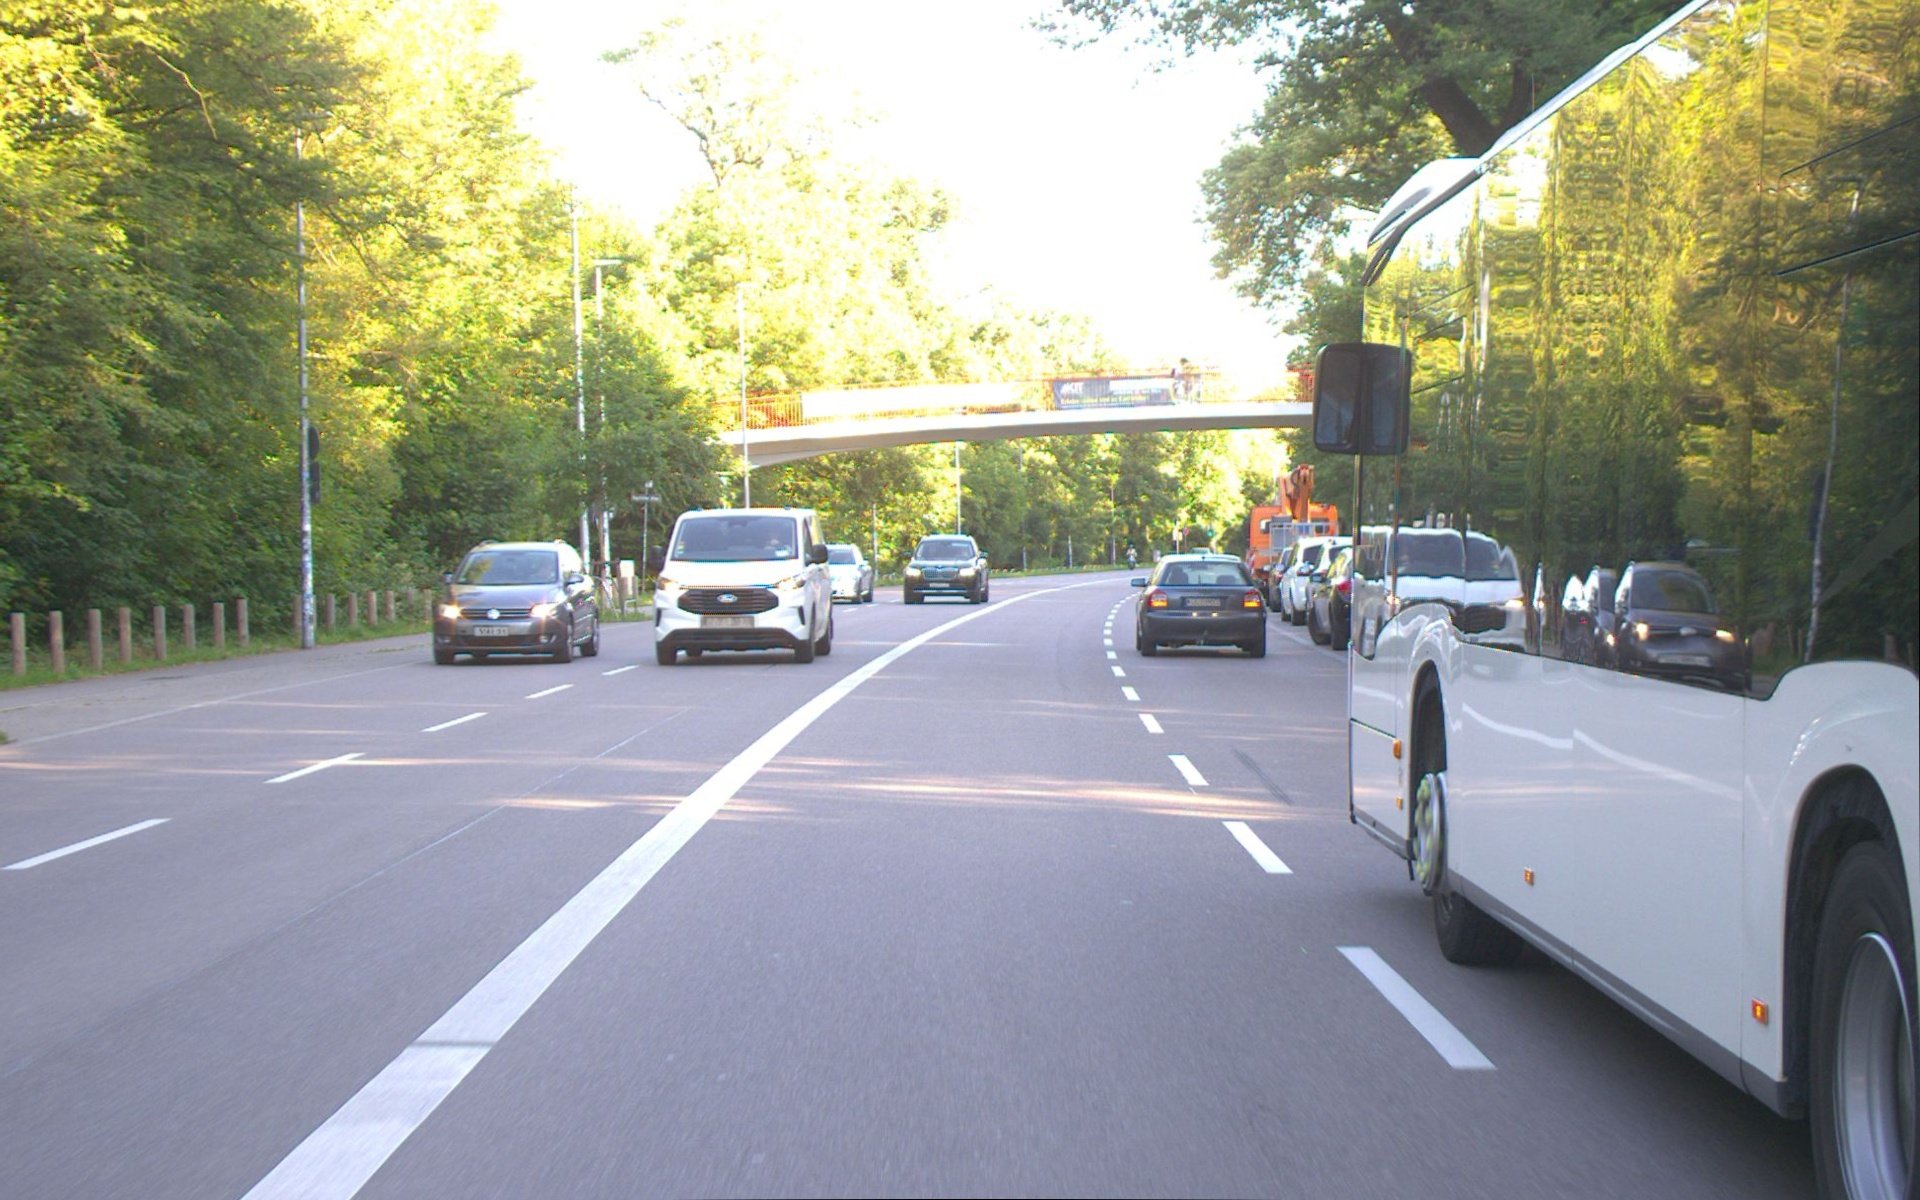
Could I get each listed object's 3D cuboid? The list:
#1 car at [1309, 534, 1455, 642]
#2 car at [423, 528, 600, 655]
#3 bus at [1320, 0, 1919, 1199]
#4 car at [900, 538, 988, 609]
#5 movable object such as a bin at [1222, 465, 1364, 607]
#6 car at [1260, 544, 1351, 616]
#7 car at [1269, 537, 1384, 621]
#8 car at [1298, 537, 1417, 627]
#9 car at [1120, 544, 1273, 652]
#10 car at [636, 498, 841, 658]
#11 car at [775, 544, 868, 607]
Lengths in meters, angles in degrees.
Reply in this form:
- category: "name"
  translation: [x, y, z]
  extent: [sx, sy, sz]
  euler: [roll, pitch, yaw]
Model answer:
- category: "car"
  translation: [6.177, -0.200, 50.673]
  extent: [1.728, 1.519, 4.090]
  euler: [0, 1, 1]
- category: "car"
  translation: [-5.883, -0.147, 45.478]
  extent: [1.800, 1.594, 4.000]
  euler: [0, 1, 0]
- category: "bus"
  translation: [2.941, -0.322, 9.184]
  extent: [2.704, 3.211, 12.279]
  euler: [0, 1, 0]
- category: "car"
  translation: [-0.361, -0.667, 85.275]
  extent: [1.918, 1.698, 4.442]
  euler: [0, 1, 3]
- category: "movable object such as a bin"
  translation: [8.195, -1.582, 85.361]
  extent: [2.758, 3.359, 7.601]
  euler: [-1, 1, 0]
- category: "car"
  translation: [7.724, -0.462, 77.138]
  extent: [1.728, 1.569, 4.090]
  euler: [0, 1, 1]
- category: "car"
  translation: [7.018, -0.426, 66.203]
  extent: [1.838, 1.569, 4.459]
  euler: [0, 1, 1]
- category: "car"
  translation: [7.035, -0.340, 61.125]
  extent: [1.728, 1.536, 4.090]
  euler: [0, 1, 1]
- category: "car"
  translation: [3.254, -0.056, 47.889]
  extent: [1.727, 1.436, 4.090]
  euler: [0, 1, -2]
- category: "car"
  translation: [-2.794, -0.299, 44.556]
  extent: [2.206, 1.954, 4.913]
  euler: [0, 1, 2]
- category: "car"
  translation: [-3.446, -0.640, 86.250]
  extent: [1.898, 1.526, 4.529]
  euler: [0, 1, 3]
